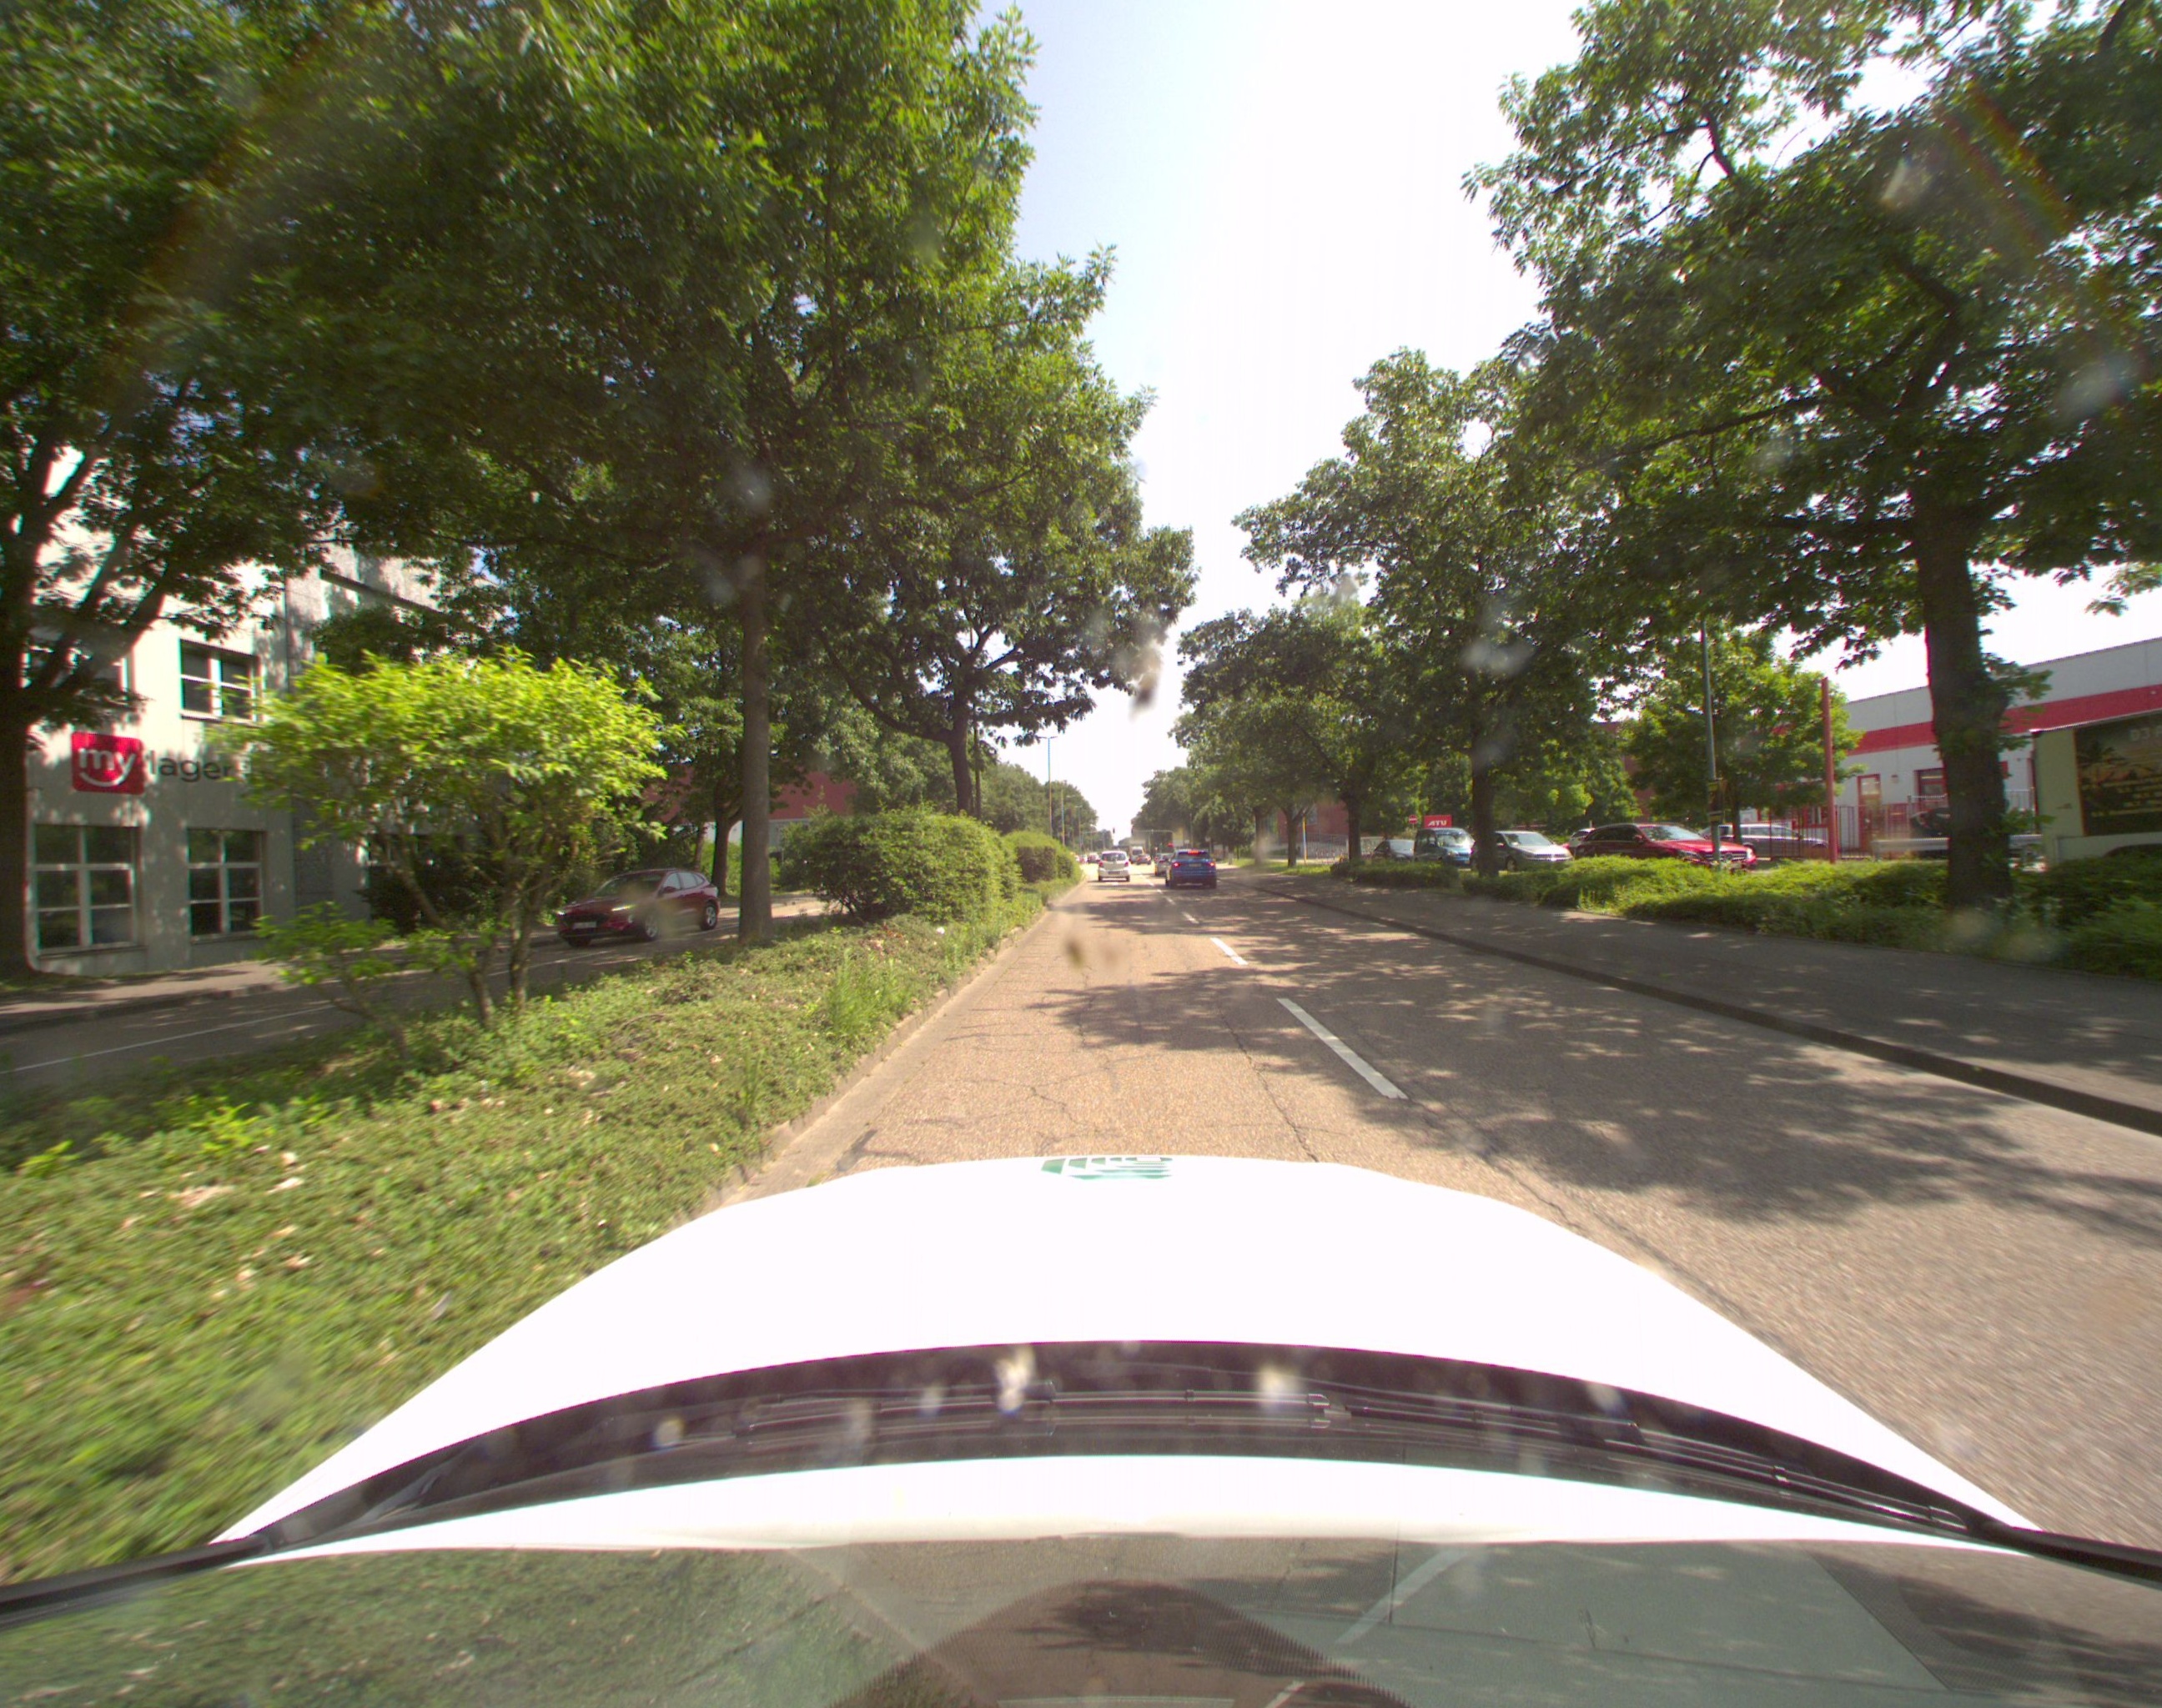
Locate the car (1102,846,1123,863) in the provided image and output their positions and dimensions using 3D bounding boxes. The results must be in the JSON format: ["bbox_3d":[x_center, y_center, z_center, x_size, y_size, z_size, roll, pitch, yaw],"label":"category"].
[{"bbox_3d":[2.996,0.100,78.725,1.790,1.523,3.997,-1,-1,-2],"label":"car"}]

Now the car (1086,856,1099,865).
[{"bbox_3d":[2.024,1.103,141.076,1.986,1.288,4.002,-3,0,2],"label":"car"}]

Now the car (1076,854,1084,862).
[{"bbox_3d":[-0.191,0.743,147.473,1.364,1.308,2.693,-3,0,0],"label":"car"}]

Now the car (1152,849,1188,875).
[{"bbox_3d":[5.461,0.499,50.380,1.858,1.473,4.002,-2,-1,2],"label":"car"}]

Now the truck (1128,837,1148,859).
[{"bbox_3d":[9.532,-0.976,136.188,2.920,3.502,9.163,-3,0,2],"label":"truck"}]

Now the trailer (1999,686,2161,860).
[{"bbox_3d":[13.551,-0.980,8.653,1.692,2.055,5.491,-2,0,5],"label":"trailer"}]

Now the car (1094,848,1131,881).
[{"bbox_3d":[1.576,0.536,41.504,1.634,1.552,3.322,-2,-1,-2],"label":"car"}]

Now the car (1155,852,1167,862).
[{"bbox_3d":[12.856,0.414,130.784,1.626,1.464,4.002,-3,0,2],"label":"car"}]

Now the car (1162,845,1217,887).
[{"bbox_3d":[4.404,0.489,33.555,1.802,1.593,4.351,-2,-1,2],"label":"car"}]

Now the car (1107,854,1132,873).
[{"bbox_3d":[3.044,0.760,64.699,1.877,1.354,4.002,-2,-1,2],"label":"car"}]

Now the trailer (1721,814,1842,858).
[{"bbox_3d":[28.574,-0.711,33.297,3.589,1.582,1.414,-3,0,4],"label":"trailer"}]

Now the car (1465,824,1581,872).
[{"bbox_3d":[14.151,-0.191,26.338,1.694,1.380,3.907,-2,0,2],"label":"car"}]

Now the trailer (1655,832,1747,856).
[{"bbox_3d":[25.329,-0.408,33.306,2.702,0.911,1.381,-1,0,2],"label":"trailer"}]

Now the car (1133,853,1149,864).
[{"bbox_3d":[8.094,0.614,110.023,1.859,1.310,4.002,-3,0,2],"label":"car"}]

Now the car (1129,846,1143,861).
[{"bbox_3d":[8.486,-0.115,125.799,1.986,2.255,4.002,-3,0,2],"label":"car"}]

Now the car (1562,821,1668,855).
[{"bbox_3d":[26.461,-0.767,40.460,3.973,1.442,1.942,-3,0,0],"label":"car"}]

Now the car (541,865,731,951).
[{"bbox_3d":[-10.453,1.186,19.620,1.814,1.635,4.523,-4,0,3],"label":"car"}]

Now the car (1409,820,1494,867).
[{"bbox_3d":[14.303,-0.365,31.678,1.693,1.637,3.909,-2,-1,4],"label":"car"}]

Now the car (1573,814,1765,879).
[{"bbox_3d":[14.231,-0.169,20.063,1.694,1.380,4.326,-2,0,2],"label":"car"}]

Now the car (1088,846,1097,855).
[{"bbox_3d":[2.773,-0.838,191.788,1.987,2.013,4.000,-3,0,1],"label":"car"}]

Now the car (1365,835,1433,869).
[{"bbox_3d":[14.541,-0.076,37.464,1.692,1.424,4.661,-2,-1,6],"label":"car"}]
